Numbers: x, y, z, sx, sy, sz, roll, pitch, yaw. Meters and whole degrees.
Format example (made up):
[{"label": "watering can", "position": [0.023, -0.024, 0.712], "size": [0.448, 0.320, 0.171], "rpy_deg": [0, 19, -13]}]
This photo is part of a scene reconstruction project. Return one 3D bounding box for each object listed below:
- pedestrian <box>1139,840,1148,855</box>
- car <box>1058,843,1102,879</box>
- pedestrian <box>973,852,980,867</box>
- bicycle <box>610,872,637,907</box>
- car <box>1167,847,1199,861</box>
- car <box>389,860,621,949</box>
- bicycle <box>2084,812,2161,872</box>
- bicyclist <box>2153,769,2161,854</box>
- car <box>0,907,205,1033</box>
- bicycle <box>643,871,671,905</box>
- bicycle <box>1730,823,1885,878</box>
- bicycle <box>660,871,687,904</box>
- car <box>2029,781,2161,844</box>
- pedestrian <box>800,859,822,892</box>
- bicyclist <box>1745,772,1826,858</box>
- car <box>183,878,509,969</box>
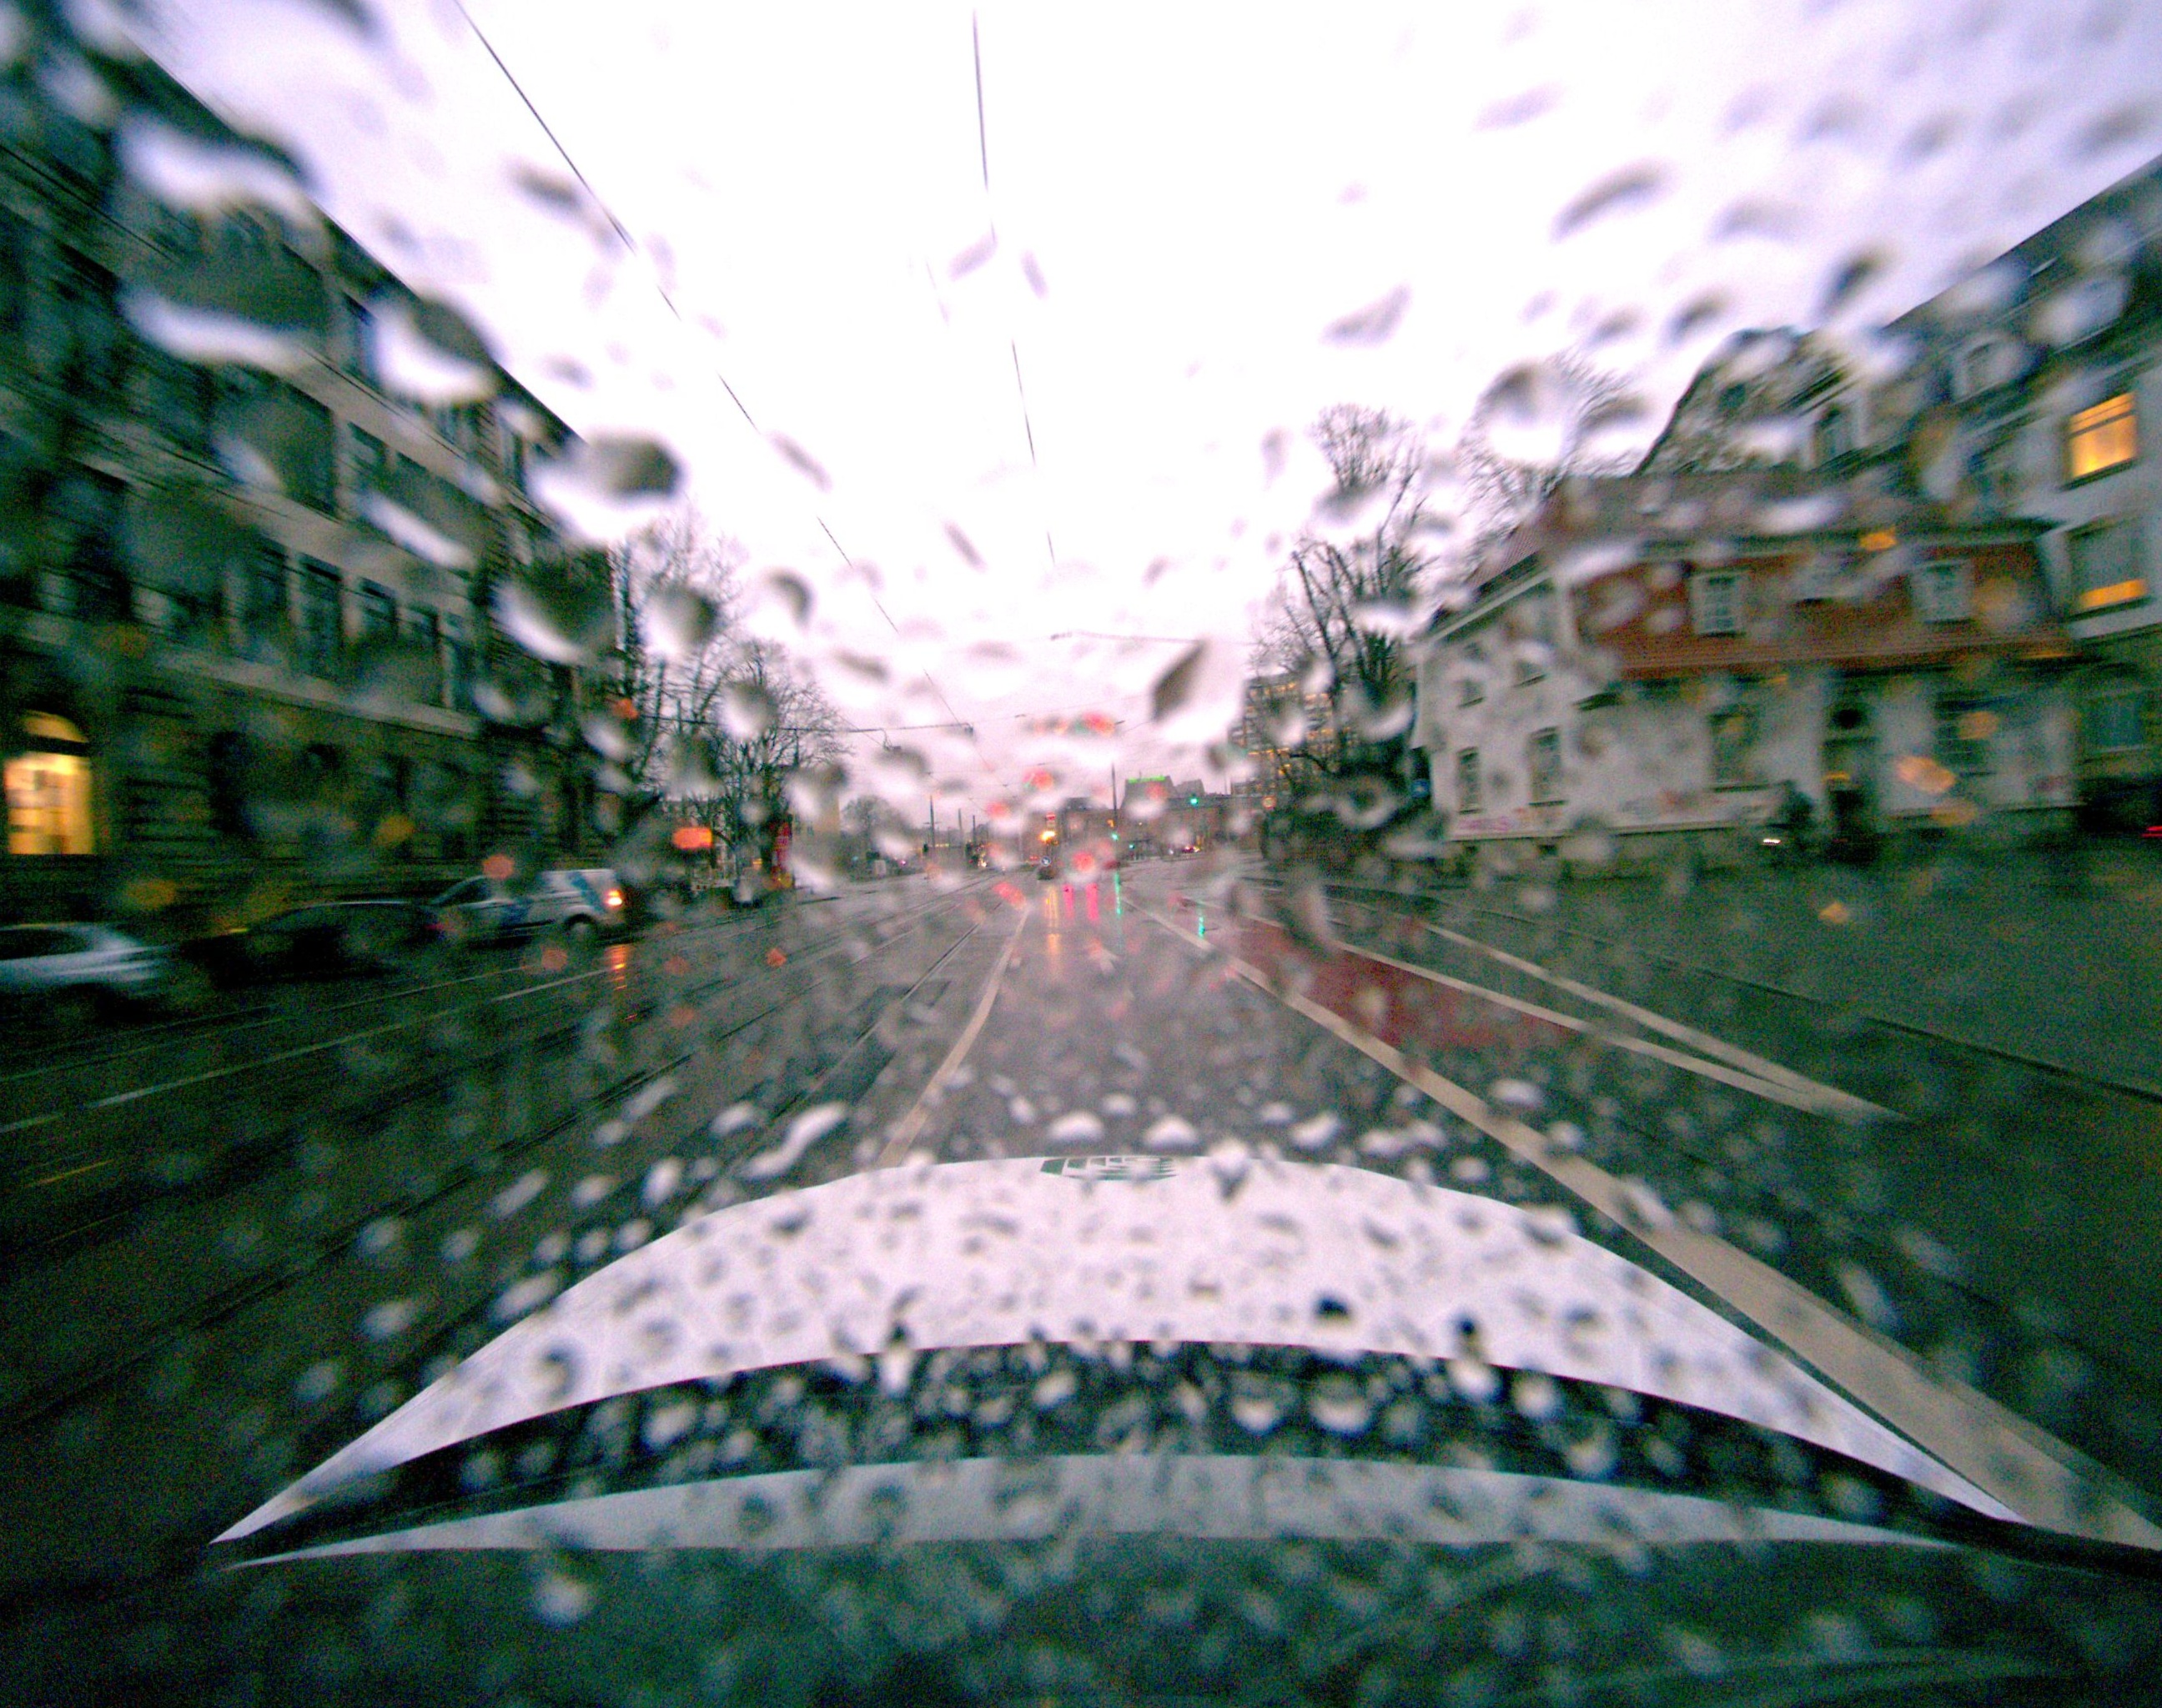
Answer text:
[{"label": "pedestrian", "position": [7.072, -0.782, 91.978], "size": [0.666, 1.674, 0.735], "rpy_deg": [-1, -1, 36]}, {"label": "car", "position": [-0.001, 0.373, 45.893], "size": [1.636, 1.818, 4.013], "rpy_deg": [-2, 1, 11]}, {"label": "pedestrian", "position": [-12.280, 0.657, 96.001], "size": [0.710, 1.757, 0.717], "rpy_deg": [-2, -1, -2]}, {"label": "bicycle", "position": [-23.363, 1.777, 41.532], "size": [0.717, 1.689, 2.400], "rpy_deg": [0, -1, -41]}, {"label": "car", "position": [16.701, -0.004, 133.708], "size": [2.270, 2.281, 4.978], "rpy_deg": [-1, 0, -41]}, {"label": "car", "position": [-15.065, 1.209, 21.501], "size": [4.829, 2.033, 1.890], "rpy_deg": [-1, -1, -40]}, {"label": "bicycle", "position": [17.966, -0.199, 13.287], "size": [2.004, 0.946, 0.905], "rpy_deg": [-1, 0, 3]}, {"label": "bicyclist", "position": [18.303, -0.713, 13.197], "size": [0.855, 1.410, 0.738], "rpy_deg": [-1, -1, 3]}, {"label": "car", "position": [-14.552, 1.554, 10.723], "size": [3.843, 1.457, 1.619], "rpy_deg": [-1, 0, -36]}, {"label": "bicycle", "position": [-22.169, 1.763, 42.584], "size": [0.717, 1.689, 2.400], "rpy_deg": [0, -1, -41]}, {"label": "bicycle", "position": [14.009, -0.061, 15.748], "size": [2.108, 0.944, 0.944], "rpy_deg": [-3, 0, 1]}, {"label": "bicycle", "position": [-21.574, 1.756, 43.083], "size": [0.717, 1.689, 2.400], "rpy_deg": [0, -1, -41]}, {"label": "car", "position": [30.502, -1.173, 23.601], "size": [1.746, 1.662, 3.676], "rpy_deg": [-1, 0, 0]}, {"label": "pedestrian", "position": [-19.480, 1.555, 58.722], "size": [0.984, 2.370, 1.071], "rpy_deg": [-1, -1, 28]}, {"label": "bicyclist", "position": [13.658, -0.740, 15.806], "size": [0.850, 1.595, 0.781], "rpy_deg": [-1, -1, 2]}, {"label": "car", "position": [-14.244, 1.270, 16.196], "size": [4.489, 1.457, 1.783], "rpy_deg": [-1, 0, -29]}]
